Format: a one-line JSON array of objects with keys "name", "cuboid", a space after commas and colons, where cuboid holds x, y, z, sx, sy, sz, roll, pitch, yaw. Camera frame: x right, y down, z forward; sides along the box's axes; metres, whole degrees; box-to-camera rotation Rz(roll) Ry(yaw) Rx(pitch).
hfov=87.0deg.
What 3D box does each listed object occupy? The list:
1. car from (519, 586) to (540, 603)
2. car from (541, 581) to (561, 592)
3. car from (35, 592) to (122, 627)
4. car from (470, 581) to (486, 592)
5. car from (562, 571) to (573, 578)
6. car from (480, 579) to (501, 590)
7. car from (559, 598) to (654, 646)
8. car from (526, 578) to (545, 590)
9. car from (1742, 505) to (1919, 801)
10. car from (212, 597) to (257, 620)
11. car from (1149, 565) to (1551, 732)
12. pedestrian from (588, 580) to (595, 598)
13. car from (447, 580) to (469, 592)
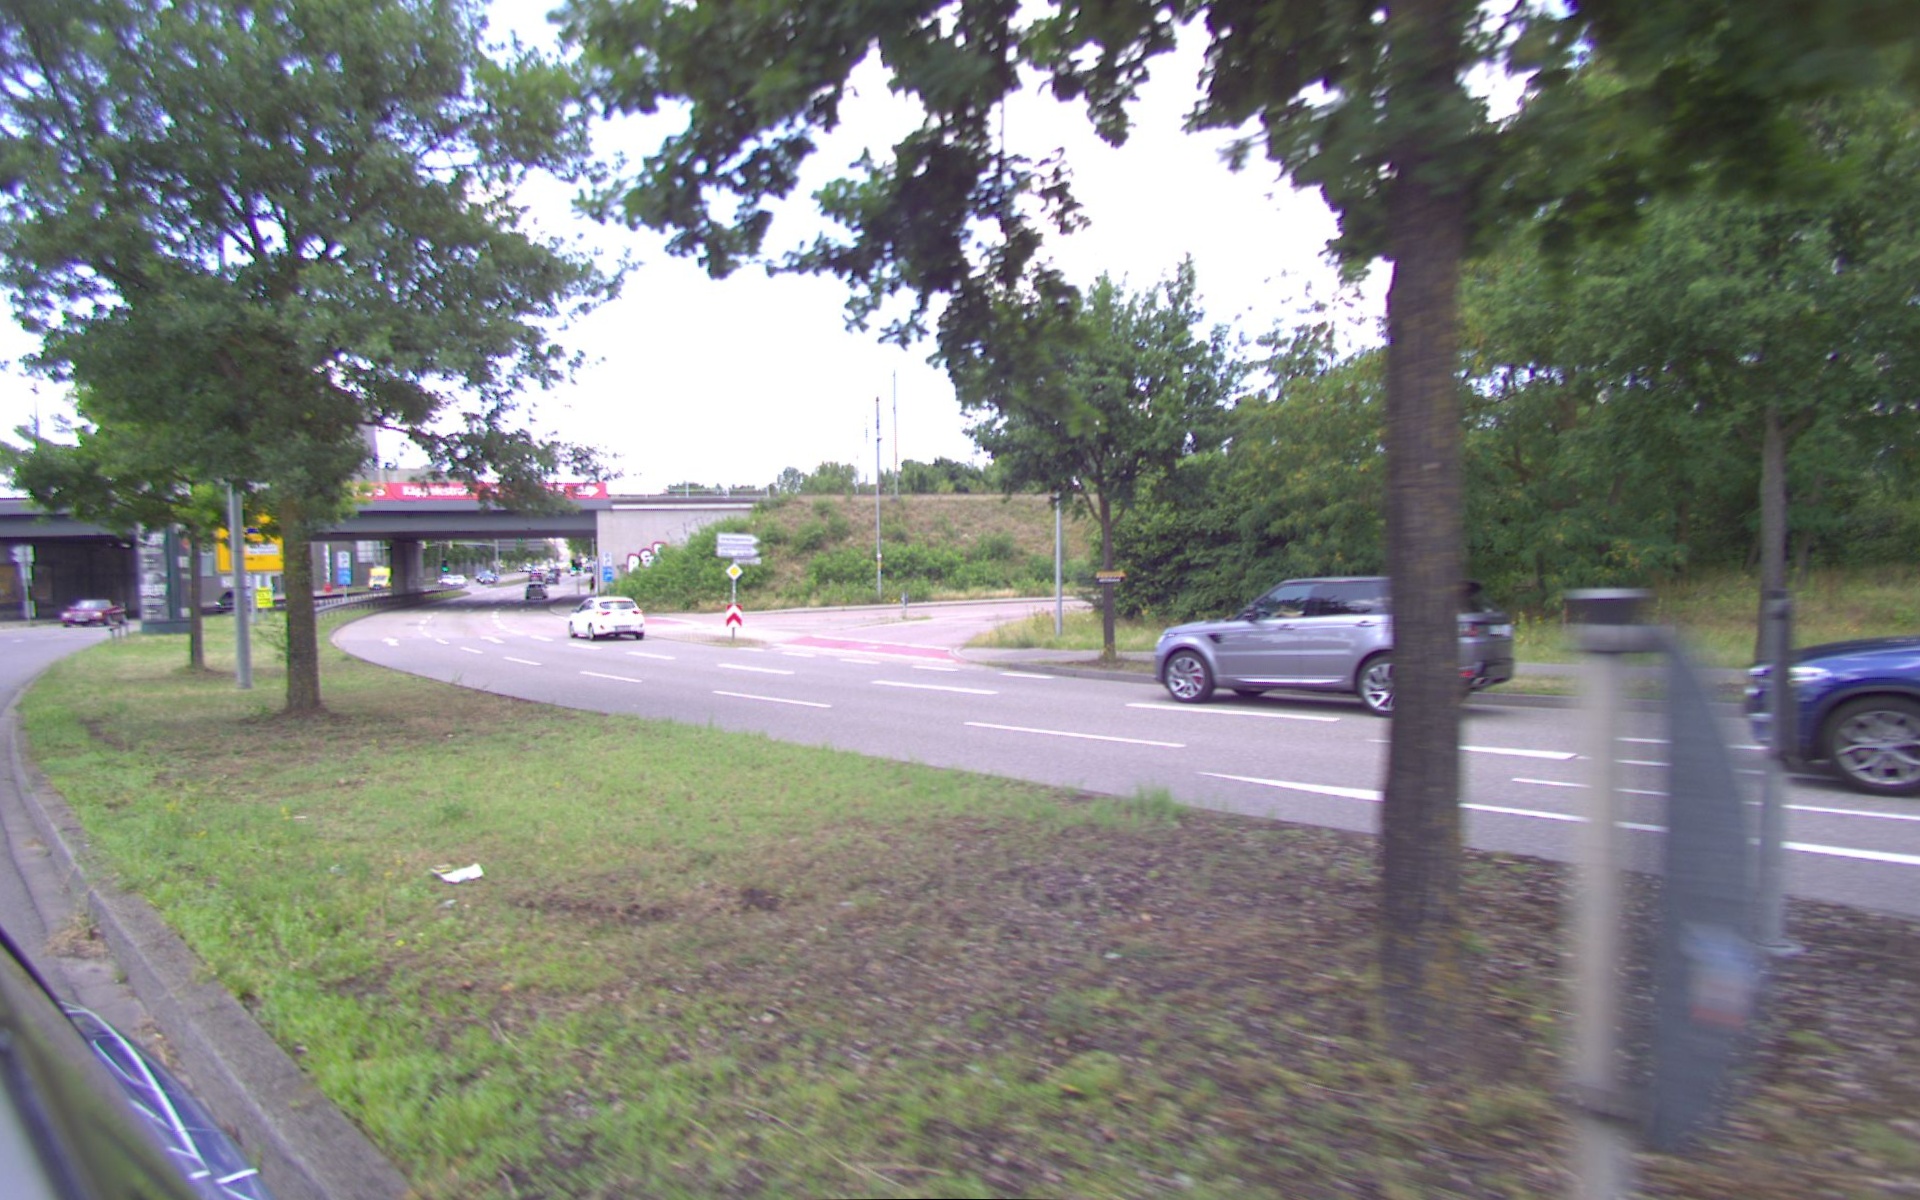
[{"name": "car", "cuboid": [-38.786, -0.503, 91.129, 1.727, 1.522, 4.013, -2, 1, -24]}, {"name": "car", "cuboid": [-56.894, -1.850, 140.729, 1.921, 1.384, 4.011, -3, 3, -13]}, {"name": "car", "cuboid": [-41.630, 0.414, 47.929, 1.965, 1.569, 4.297, 1, 0, -25]}, {"name": "car", "cuboid": [-74.195, -2.068, 155.836, 1.753, 1.507, 3.610, -1, 2, -18]}, {"name": "car", "cuboid": [-87.702, -5.703, 226.200, 1.946, 1.399, 4.796, -1, 2, -18]}, {"name": "car", "cuboid": [-65.002, -2.182, 140.230, 1.966, 1.425, 4.847, -3, 3, -18]}, {"name": "car", "cuboid": [-12.510, 0.716, 35.663, 1.967, 1.544, 4.342, 0, 0, -36]}, {"name": "car", "cuboid": [-64.560, -2.409, 154.019, 1.967, 1.687, 4.334, -1, 2, -12]}, {"name": "car", "cuboid": [8.321, 0.282, 6.670, 4.816, 2.029, 1.972, -3, 0, 42]}, {"name": "car", "cuboid": [-53.498, 0.599, 74.682, 1.685, 1.507, 3.662, -1, 2, -18]}, {"name": "car", "cuboid": [5.118, 0.522, 13.784, 1.971, 1.875, 4.717, -2, 1, -45]}, {"name": "pedestrian", "cuboid": [-33.727, -1.009, 92.658, 0.582, 1.693, 0.558, -1, 2, -20]}, {"name": "car", "cuboid": [-66.456, -1.848, 133.935, 1.889, 1.425, 4.309, -5, 3, -18]}]
